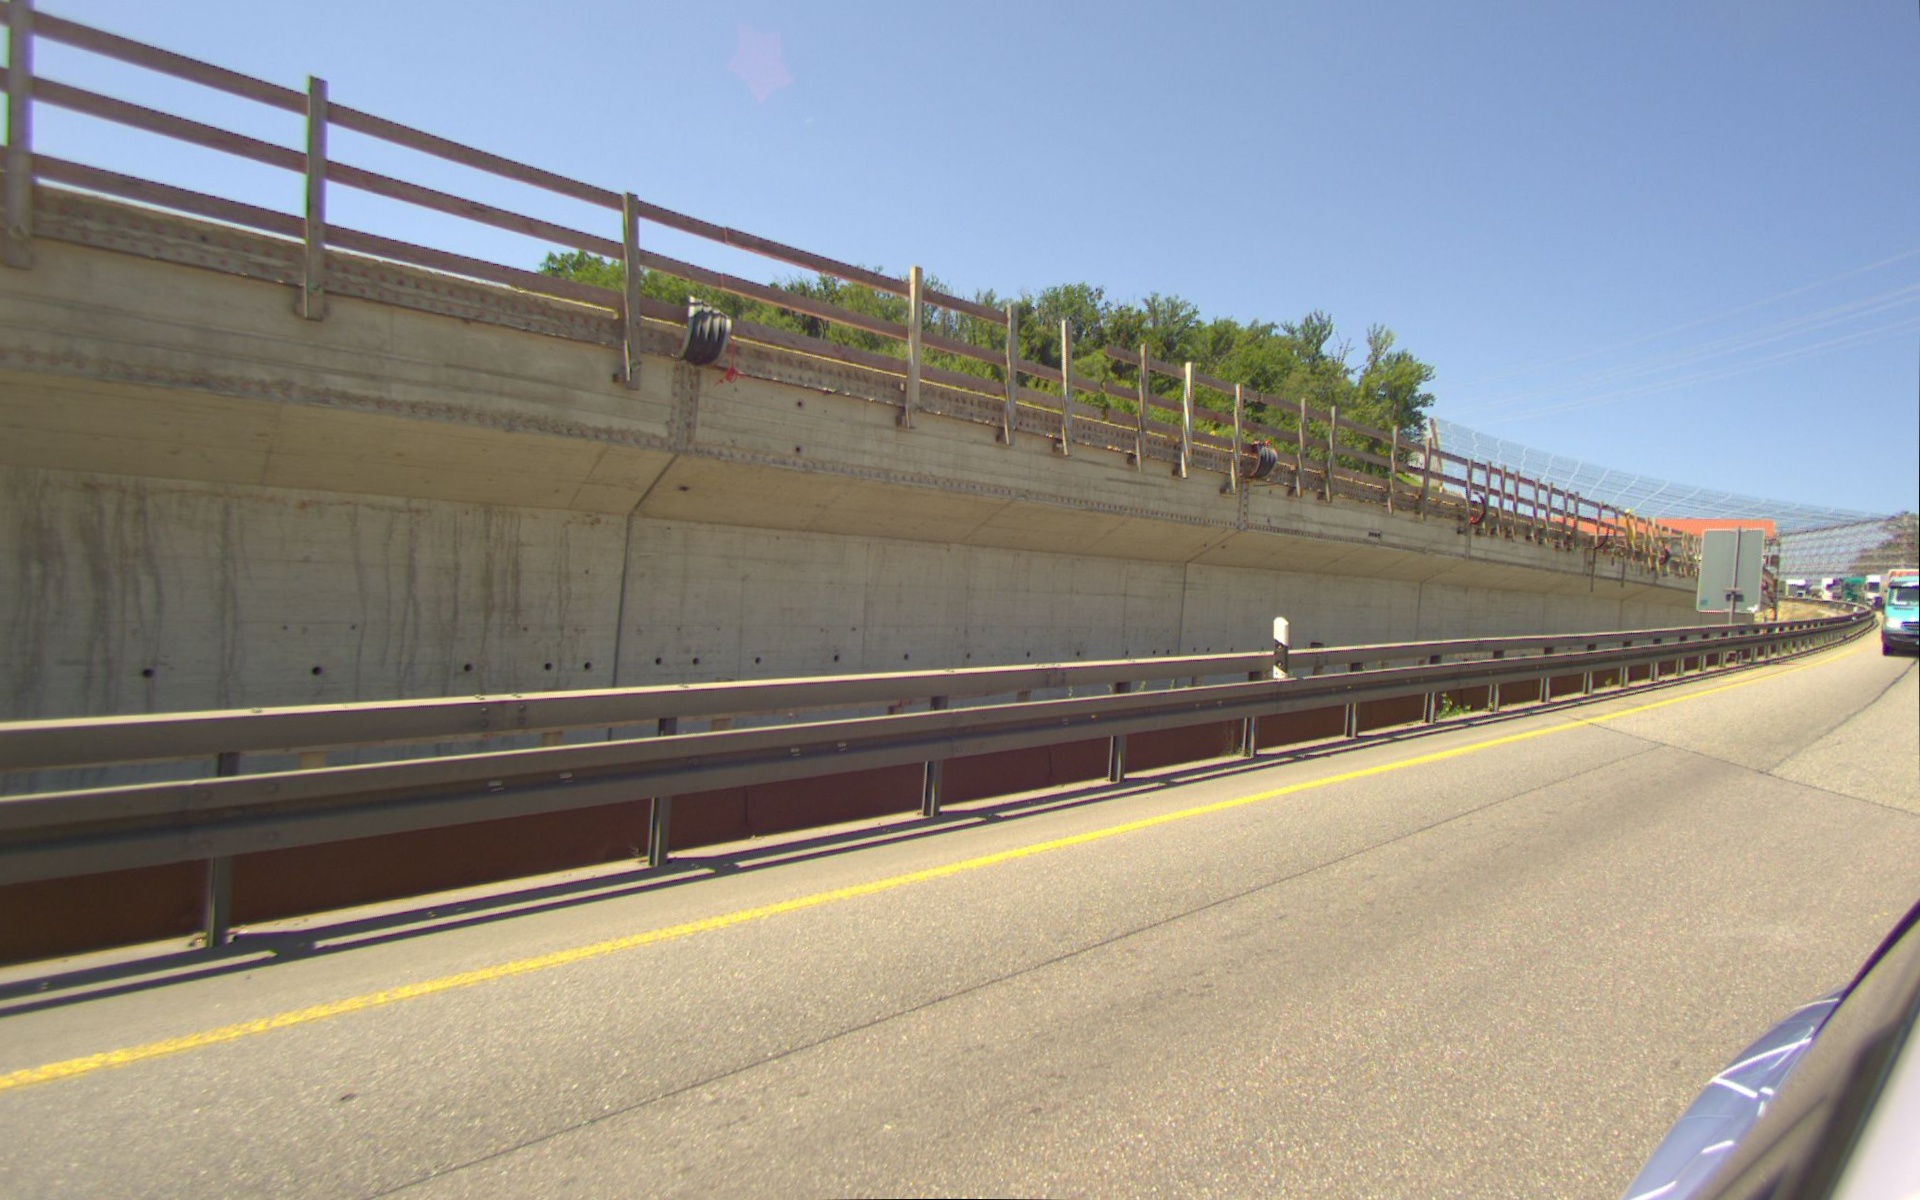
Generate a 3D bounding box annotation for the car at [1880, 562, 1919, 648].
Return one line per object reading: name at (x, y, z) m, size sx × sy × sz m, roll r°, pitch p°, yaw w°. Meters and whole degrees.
car at (28.906, 0.132, 29.838) m, size 6.788 × 2.355 × 2.213 m, roll 0°, pitch 2°, yaw -44°

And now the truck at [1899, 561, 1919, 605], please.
truck at (81.582, -1.411, 85.851) m, size 2.462 × 3.528 × 9.722 m, roll 0°, pitch 1°, yaw 41°
